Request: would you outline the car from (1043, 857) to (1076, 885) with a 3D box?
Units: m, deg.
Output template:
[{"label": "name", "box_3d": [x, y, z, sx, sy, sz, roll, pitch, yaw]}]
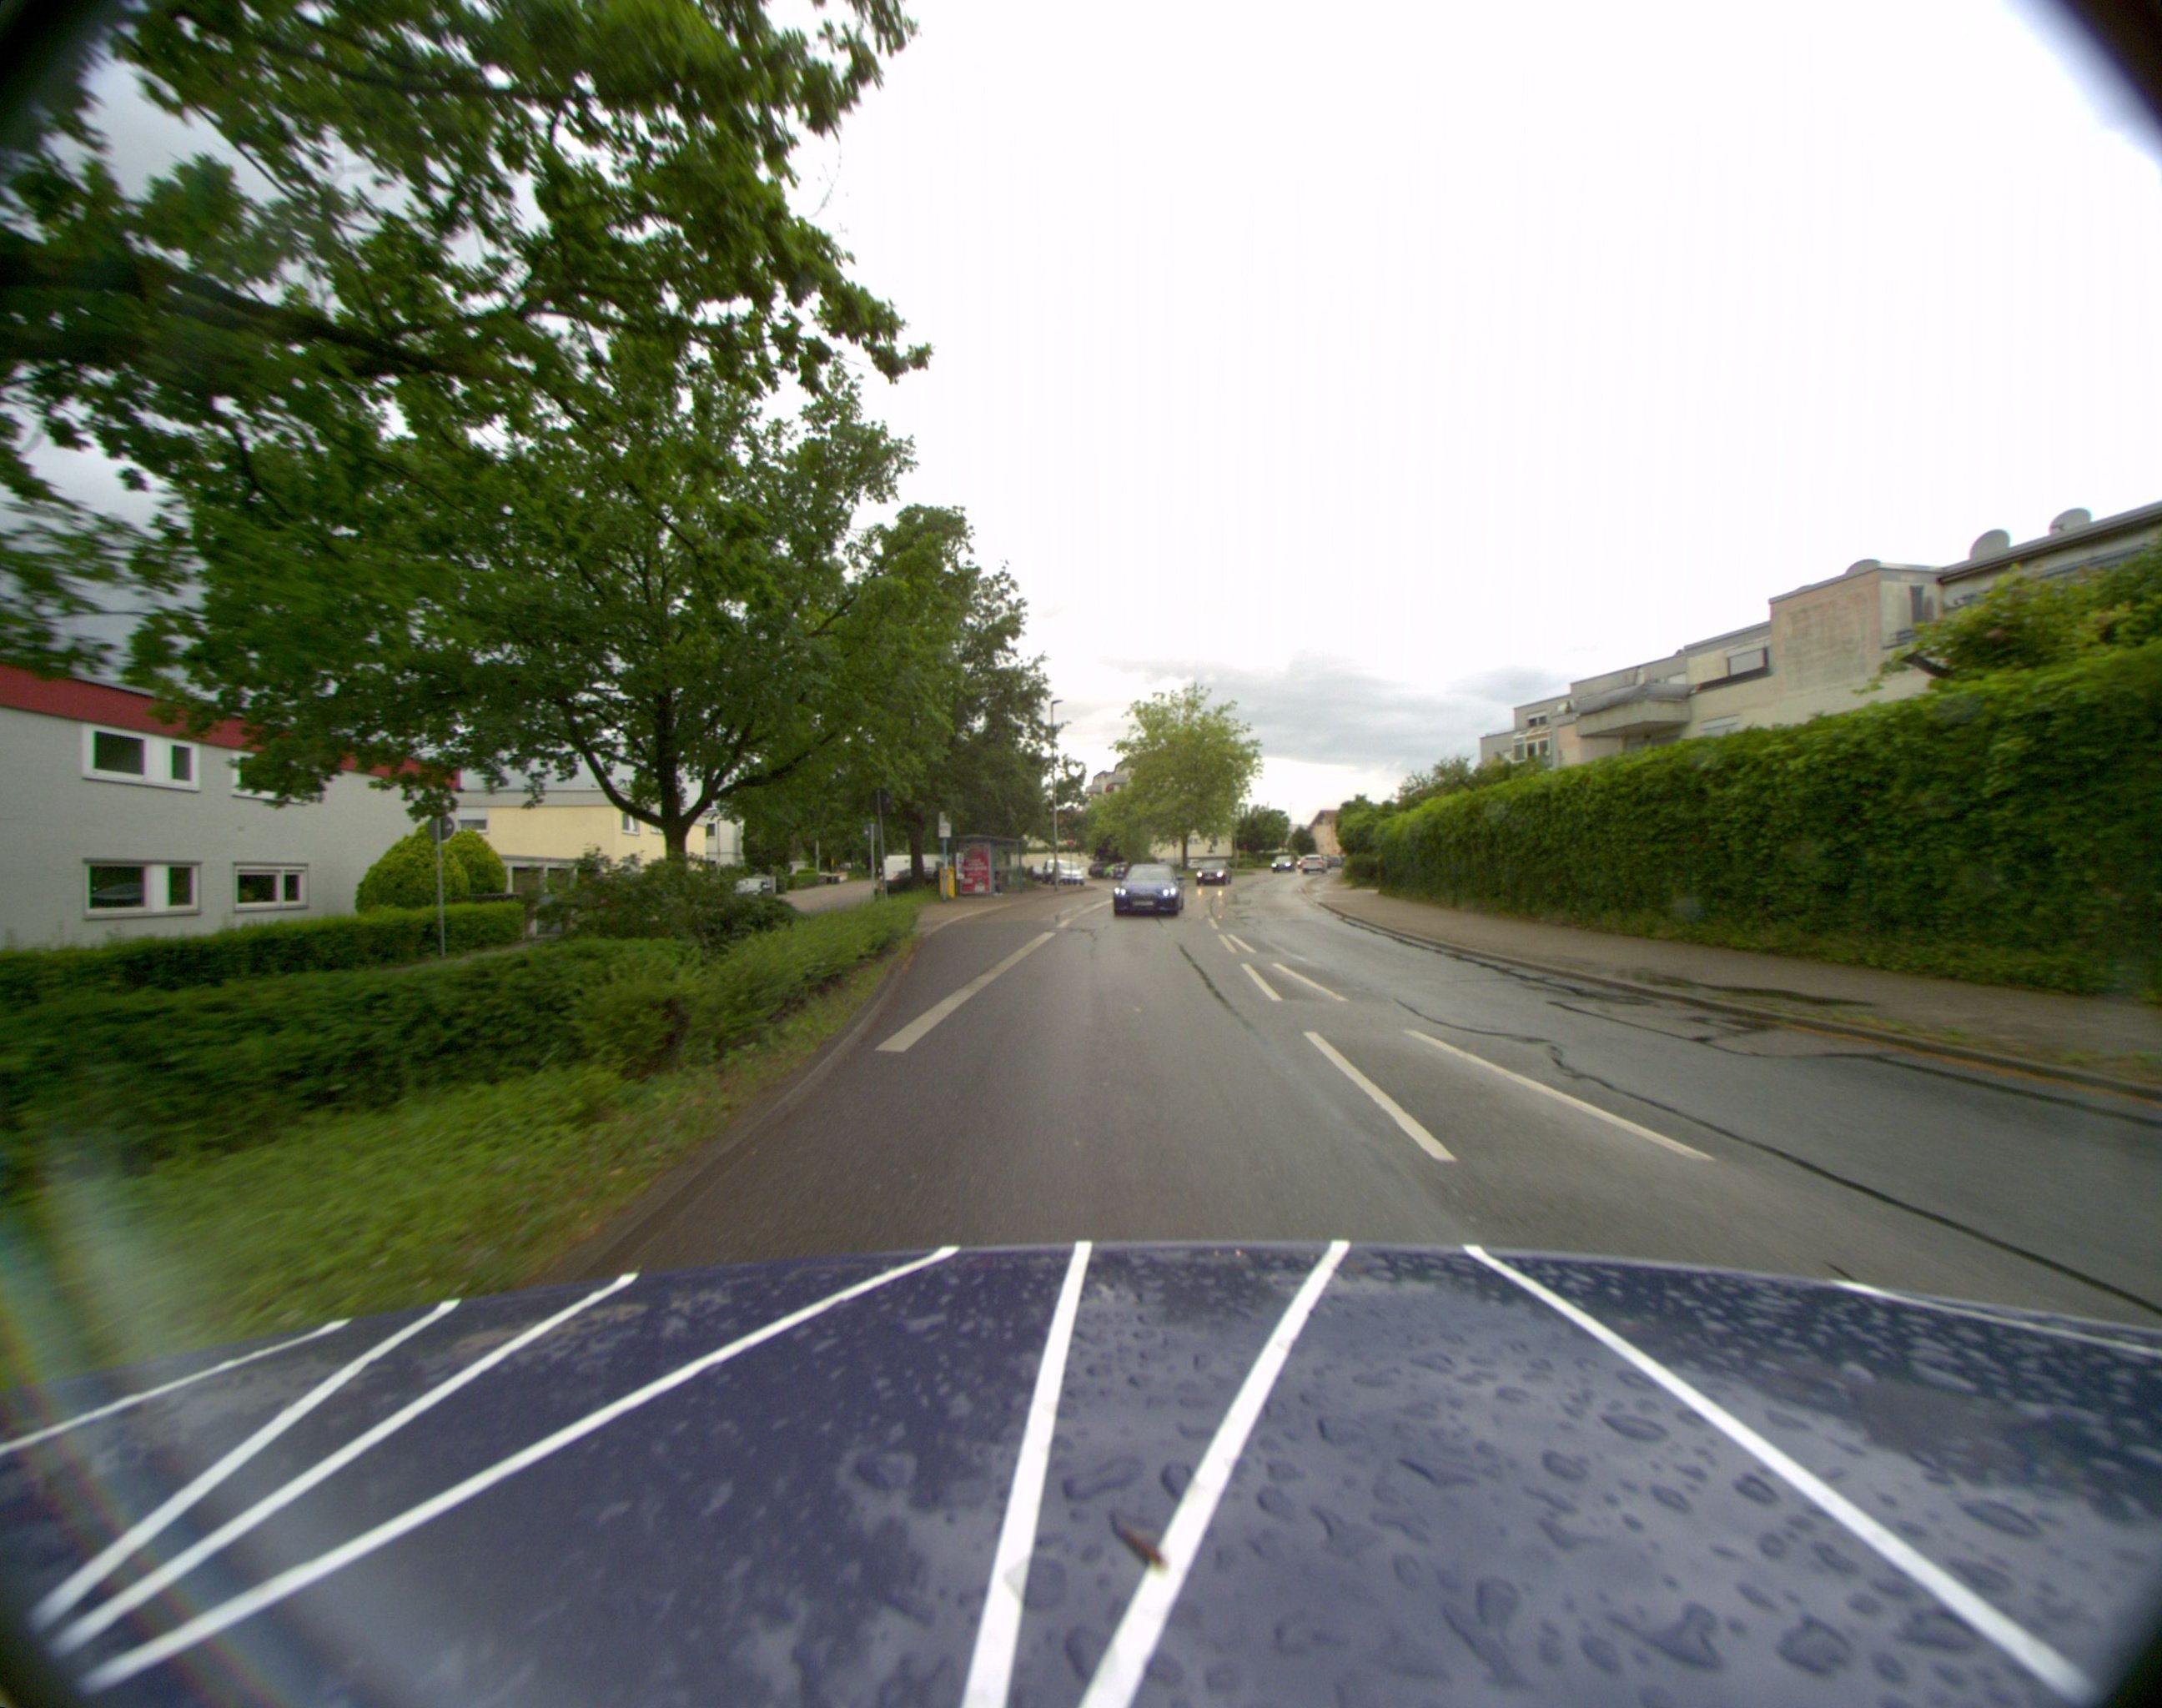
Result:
[{"label": "car", "box_3d": [-1.617, 1.212, 55.814, 2.000, 1.870, 4.210, -2, 0, -7]}]

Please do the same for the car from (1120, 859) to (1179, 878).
[{"label": "car", "box_3d": [5.679, 1.196, 63.070, 4.578, 1.434, 1.767, -1, 0, 18]}]

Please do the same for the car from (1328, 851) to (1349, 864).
[{"label": "car", "box_3d": [29.210, 0.370, 86.099, 1.742, 1.406, 4.149, -2, 0, 24]}]

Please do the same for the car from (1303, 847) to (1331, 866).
[{"label": "car", "box_3d": [21.172, 0.182, 67.960, 1.892, 1.602, 4.873, -2, 0, 22]}]

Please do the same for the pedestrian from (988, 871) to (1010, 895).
[{"label": "pedestrian", "box_3d": [-3.459, 1.224, 32.228, 0.750, 1.005, 0.552, -2, 0, 14]}]

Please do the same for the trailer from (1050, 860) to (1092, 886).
[{"label": "trailer", "box_3d": [-0.696, 1.205, 49.799, 2.000, 1.534, 4.422, -1, 0, -11]}]

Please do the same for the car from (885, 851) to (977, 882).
[{"label": "car", "box_3d": [-10.250, 0.863, 51.962, 5.829, 2.002, 2.002, -1, 0, 13]}]

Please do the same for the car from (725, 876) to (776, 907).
[{"label": "car", "box_3d": [-18.241, 2.021, 42.126, 1.693, 1.501, 3.823, -2, 0, -10]}]

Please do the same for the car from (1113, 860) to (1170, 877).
[{"label": "car", "box_3d": [5.269, 1.251, 65.905, 4.578, 1.434, 1.767, -1, 0, 18]}]

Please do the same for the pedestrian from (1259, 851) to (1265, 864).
[{"label": "pedestrian", "box_3d": [25.010, 0.519, 104.847, 0.615, 1.762, 0.671, -2, 0, -1]}]

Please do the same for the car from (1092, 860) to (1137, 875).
[{"label": "car", "box_3d": [3.220, 1.335, 73.075, 4.014, 1.363, 1.767, -1, 0, 18]}]

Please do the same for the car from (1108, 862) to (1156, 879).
[{"label": "car", "box_3d": [4.638, 1.475, 69.032, 4.014, 1.434, 1.767, -1, 0, 18]}]

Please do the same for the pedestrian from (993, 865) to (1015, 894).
[{"label": "pedestrian", "box_3d": [-3.334, 1.103, 32.898, 0.727, 1.243, 0.552, -2, 0, 14]}]

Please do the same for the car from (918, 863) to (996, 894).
[{"label": "car", "box_3d": [-6.527, 1.280, 40.239, 3.651, 1.477, 1.761, -2, 0, 12]}]

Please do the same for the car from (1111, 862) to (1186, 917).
[{"label": "car", "box_3d": [2.138, 1.008, 23.047, 1.911, 1.425, 4.304, -1, 0, 10]}]

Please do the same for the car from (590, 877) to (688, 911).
[{"label": "car", "box_3d": [-20.698, 1.870, 35.751, 3.625, 1.523, 1.760, 1, -1, -15]}]

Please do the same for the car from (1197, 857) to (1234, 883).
[{"label": "car", "box_3d": [8.107, 0.934, 45.511, 1.838, 1.440, 4.004, -2, 0, 14]}]

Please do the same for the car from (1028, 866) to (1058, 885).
[{"label": "car", "box_3d": [-3.104, 1.706, 61.479, 1.766, 1.374, 4.183, -2, 0, -12]}]

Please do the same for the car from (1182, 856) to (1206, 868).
[{"label": "car", "box_3d": [14.492, 1.054, 97.375, 1.747, 1.472, 3.765, -1, 0, -14]}]

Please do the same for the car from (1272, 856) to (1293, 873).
[{"label": "car", "box_3d": [20.333, 1.016, 76.539, 1.838, 1.541, 4.005, -2, 0, 18]}]
